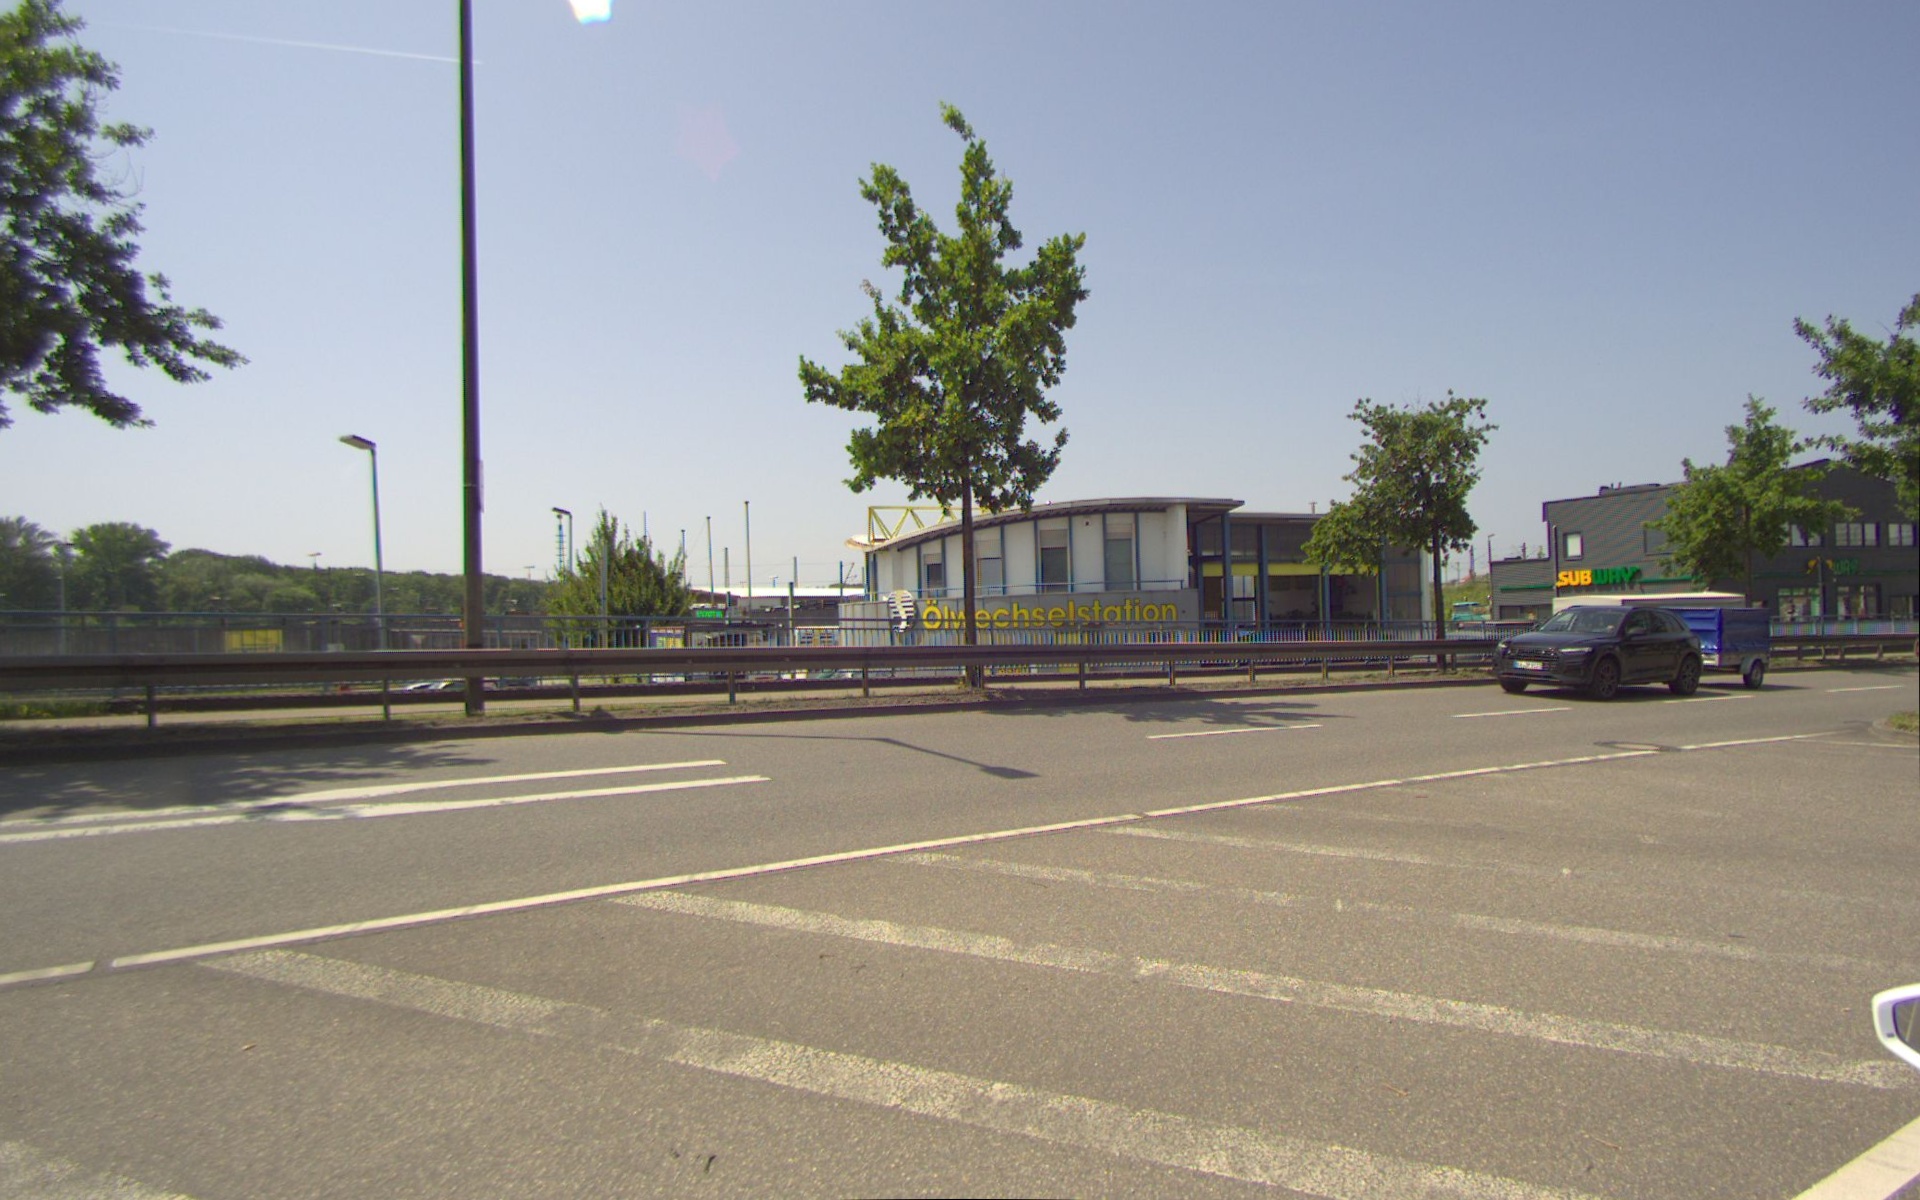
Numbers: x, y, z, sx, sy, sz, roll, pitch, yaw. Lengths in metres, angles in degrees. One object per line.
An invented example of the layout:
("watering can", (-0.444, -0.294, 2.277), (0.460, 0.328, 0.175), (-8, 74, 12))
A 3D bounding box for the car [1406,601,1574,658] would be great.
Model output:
("car", (15.624, 0.884, 29.610), (4.573, 1.589, 1.894), (0, -3, -23))

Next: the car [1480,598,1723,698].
("car", (12.213, 0.864, 19.106), (4.350, 1.674, 1.907), (1, 1, -27))

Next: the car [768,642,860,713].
("car", (-4.905, 2.489, 33.316), (1.973, 2.040, 3.975), (0, 0, -25))

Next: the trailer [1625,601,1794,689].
("trailer", (15.595, 0.880, 20.907), (3.264, 1.637, 1.499), (-1, 2, -26))
